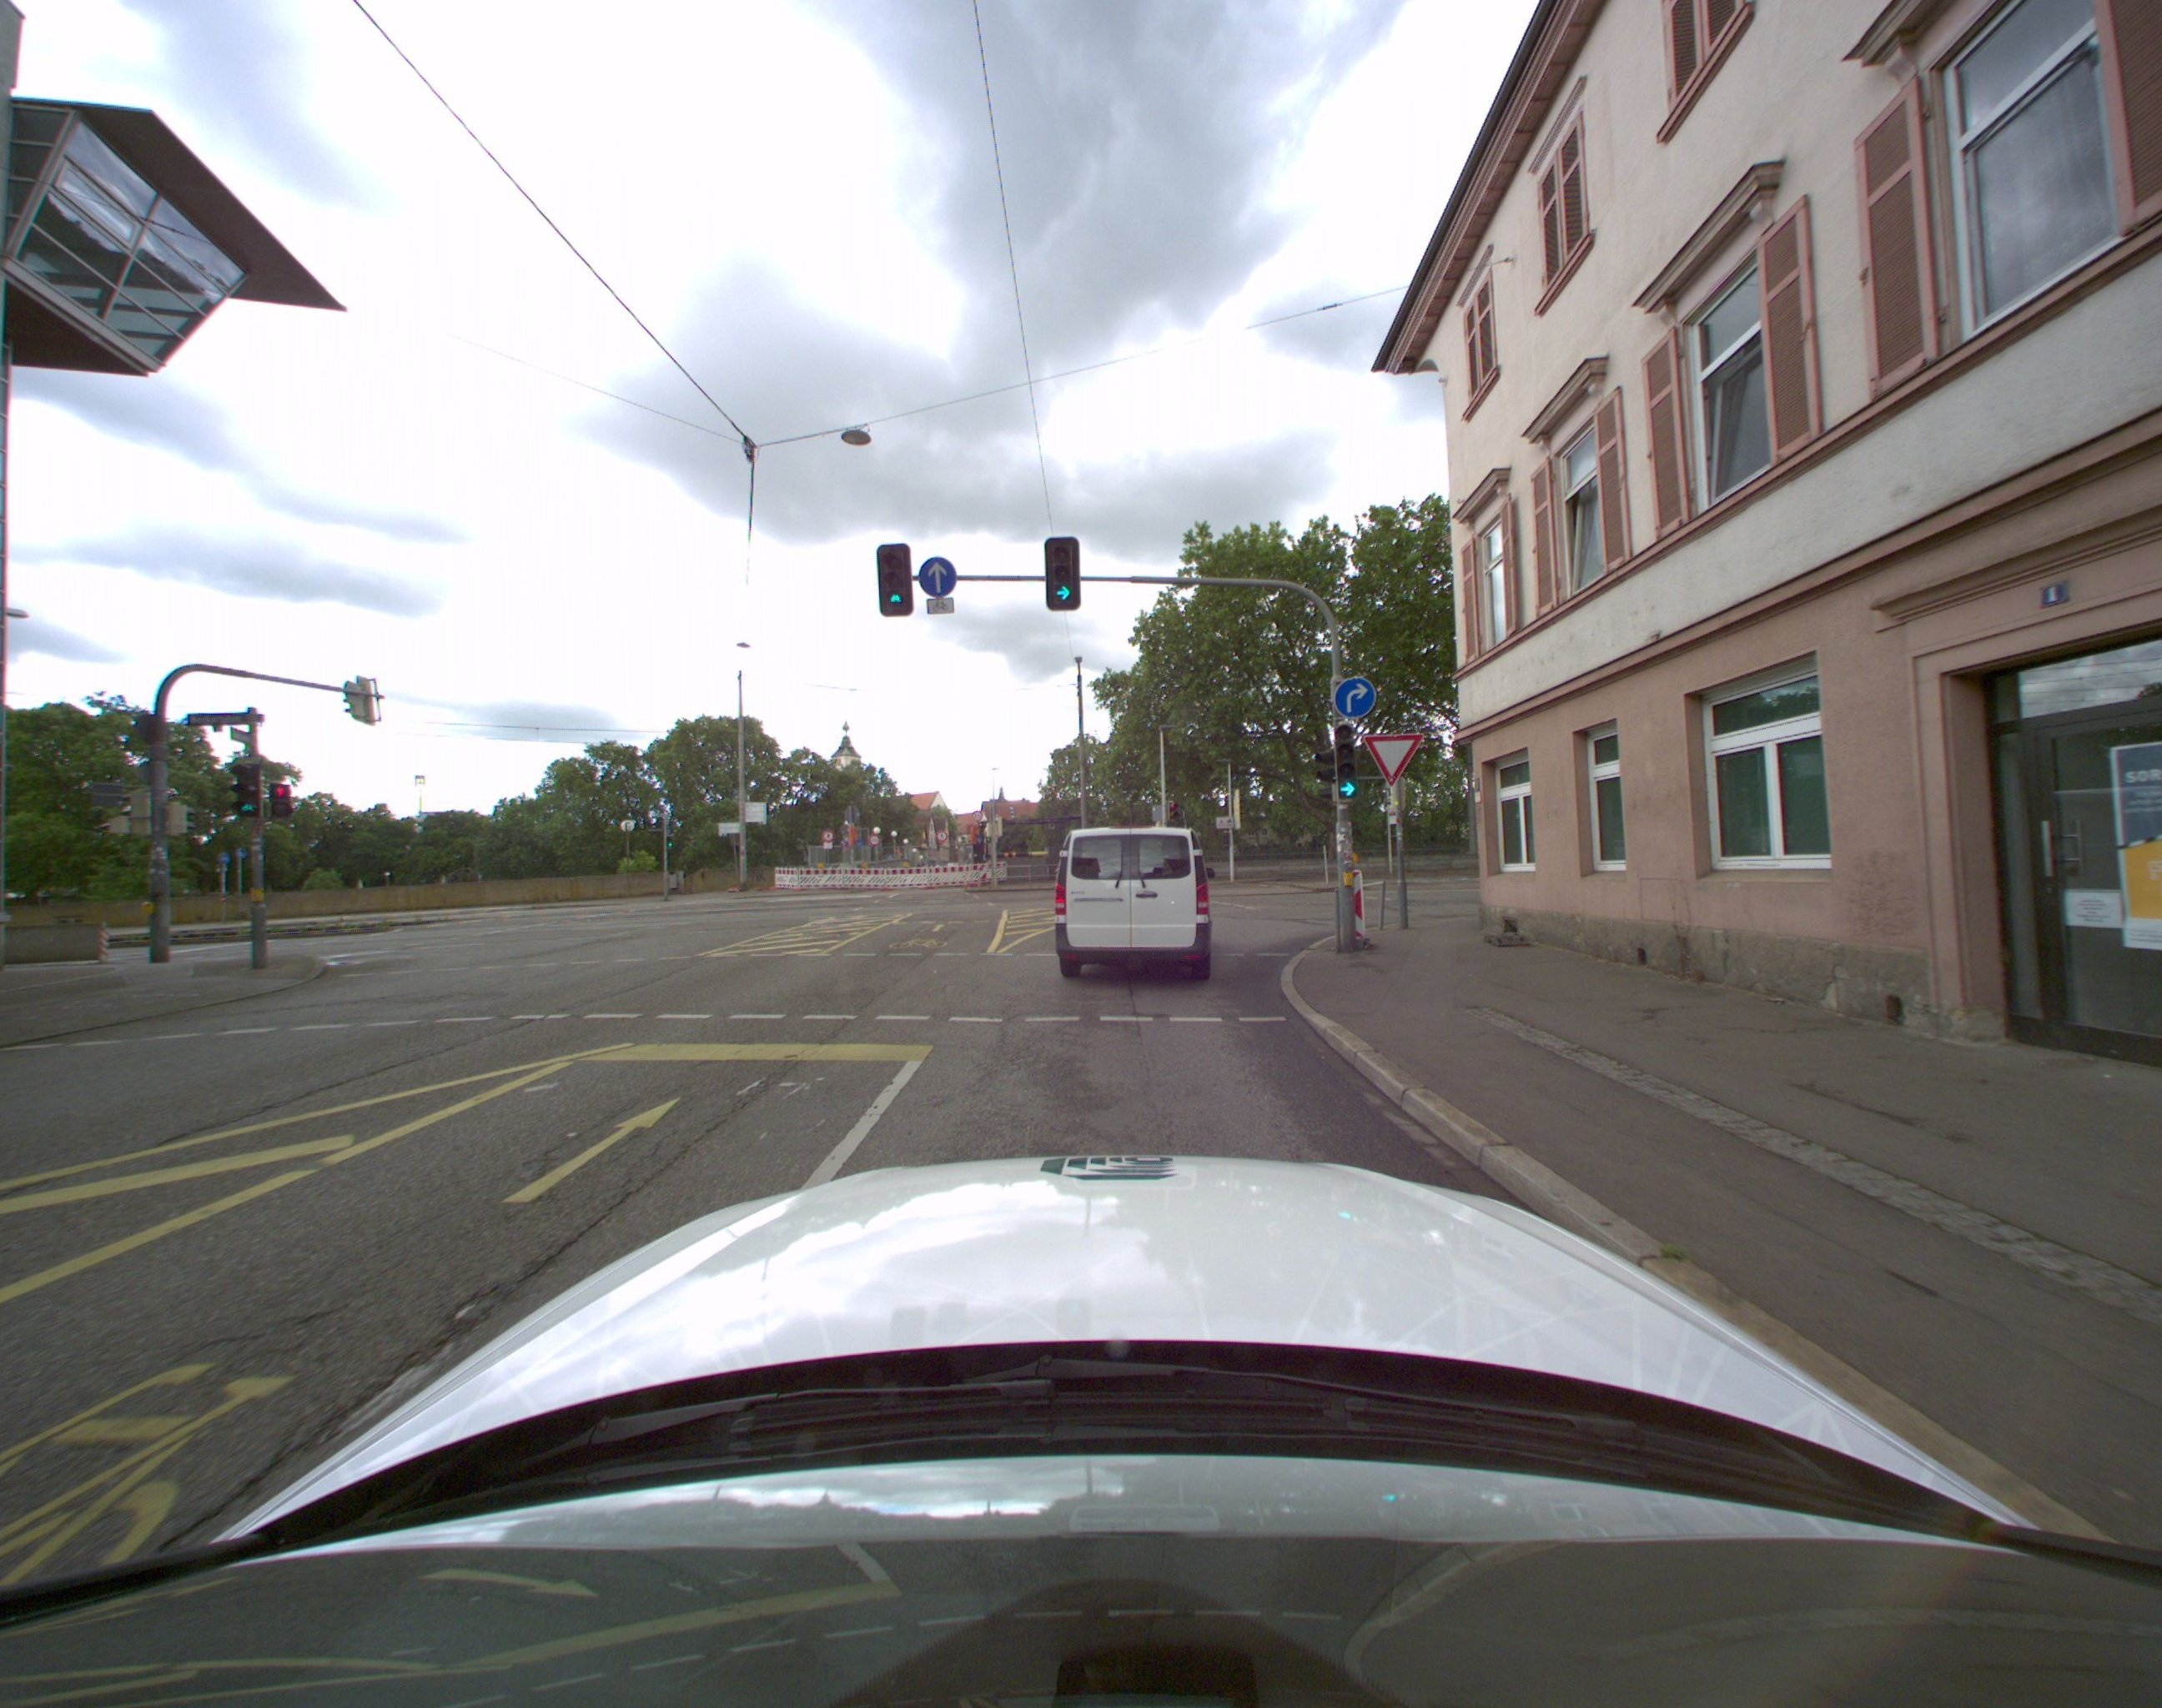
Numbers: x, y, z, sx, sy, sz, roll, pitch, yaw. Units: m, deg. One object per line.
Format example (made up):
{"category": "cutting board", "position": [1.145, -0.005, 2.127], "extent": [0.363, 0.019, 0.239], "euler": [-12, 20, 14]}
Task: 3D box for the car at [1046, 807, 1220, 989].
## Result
{"category": "car", "position": [0.943, 0.492, 11.507], "extent": [1.939, 2.013, 4.710], "euler": [-1, 0, 9]}
